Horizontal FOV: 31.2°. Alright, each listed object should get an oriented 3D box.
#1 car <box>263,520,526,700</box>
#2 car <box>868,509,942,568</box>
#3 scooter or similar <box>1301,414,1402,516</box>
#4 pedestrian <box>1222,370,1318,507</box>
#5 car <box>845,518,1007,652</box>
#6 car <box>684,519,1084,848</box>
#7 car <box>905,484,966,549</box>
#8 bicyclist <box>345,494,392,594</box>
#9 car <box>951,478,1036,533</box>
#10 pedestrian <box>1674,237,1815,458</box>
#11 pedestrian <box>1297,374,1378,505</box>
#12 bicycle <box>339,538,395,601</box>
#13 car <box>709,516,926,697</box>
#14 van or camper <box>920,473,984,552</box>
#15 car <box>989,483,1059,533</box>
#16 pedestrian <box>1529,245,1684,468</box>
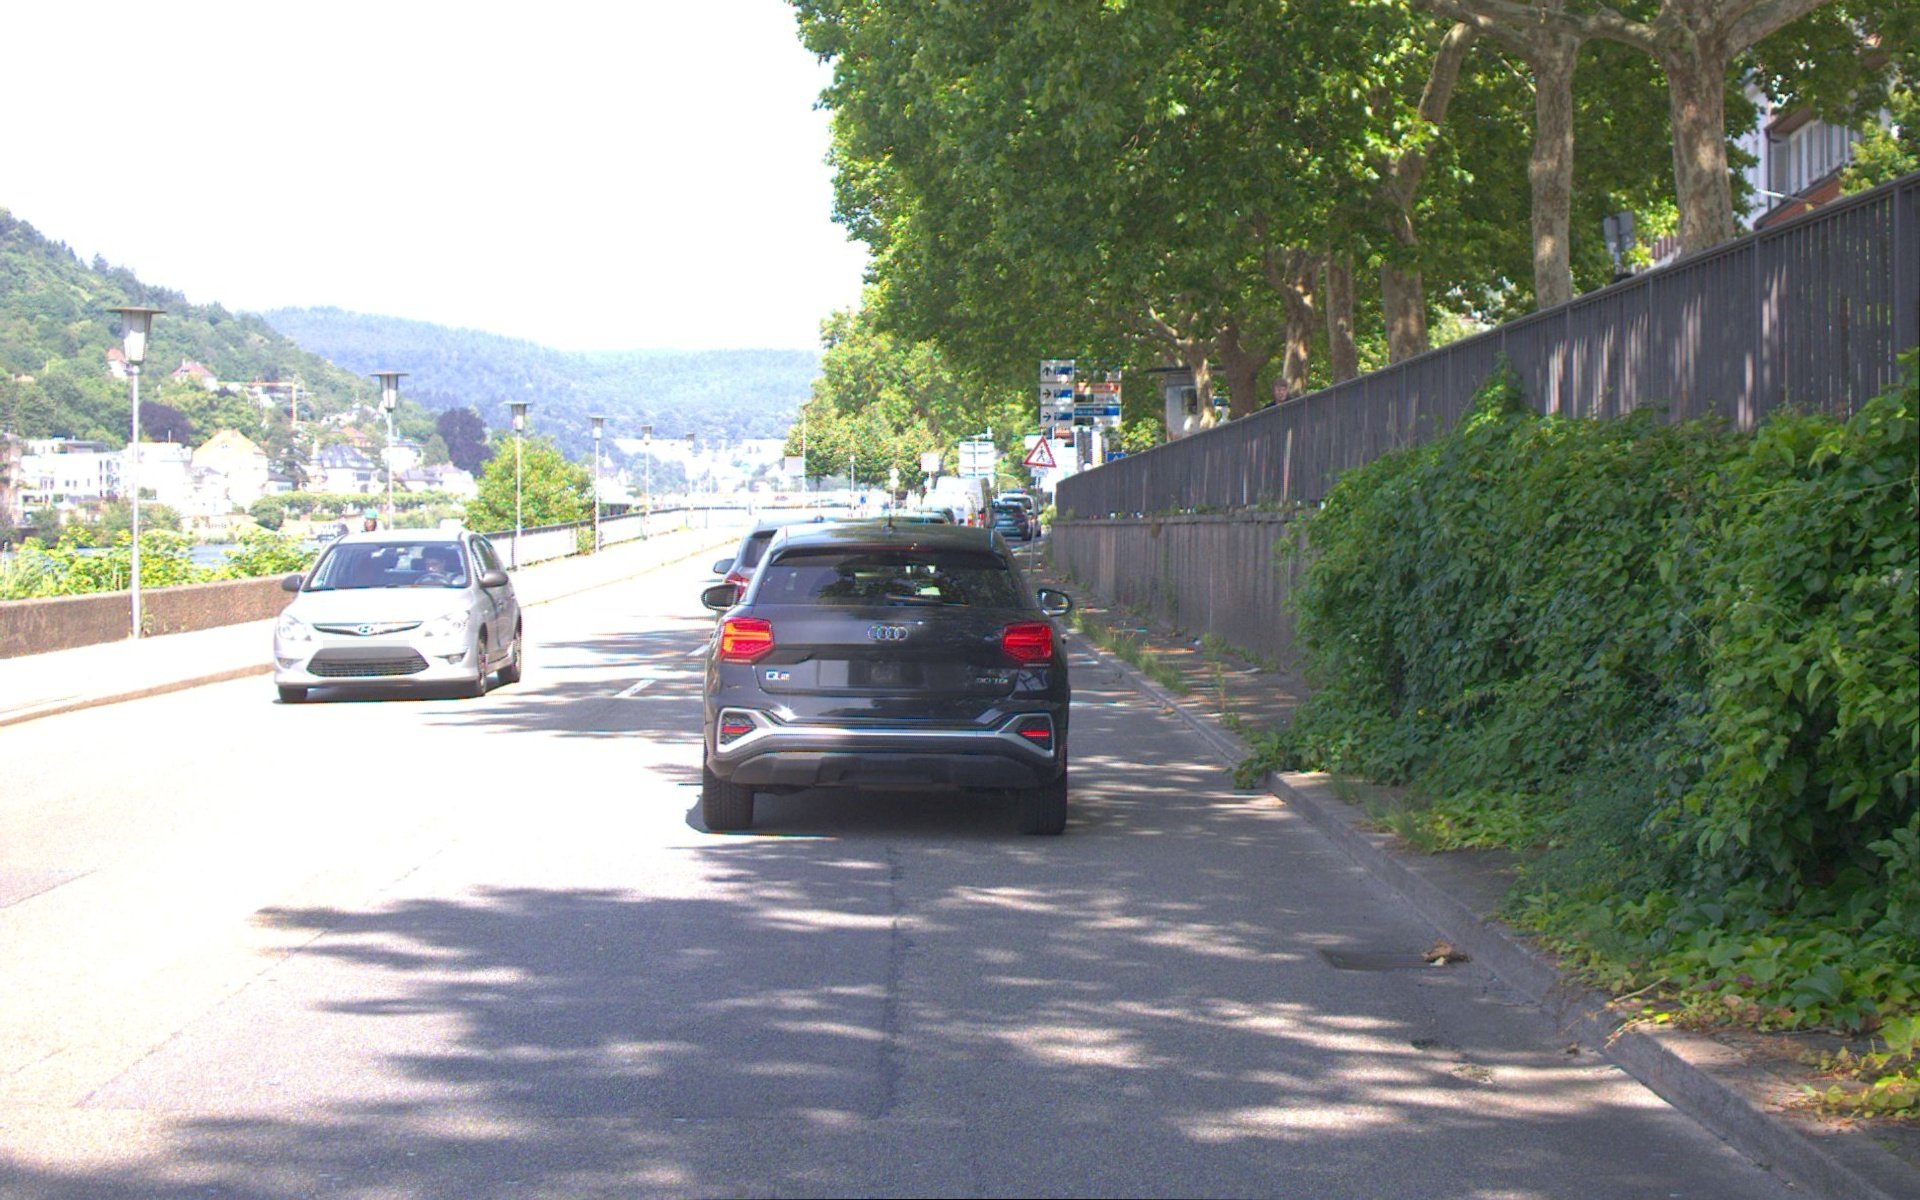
[{"bbox_3d":[-4.955,0.035,30.598,1.731,1.437,4.046,-2,1,-1],"label":"car"},{"bbox_3d":[-1.419,-1.585,87.742,1.828,1.439,4.001,1,2,-2],"label":"car"},{"bbox_3d":[4.124,-1.415,36.281,0.855,1.023,1.107,-3,1,-1],"label":"scooter or similar"},{"bbox_3d":[3.687,-1.915,40.971,0.936,1.574,1.028,-3,1,-3],"label":"pedestrian"},{"bbox_3d":[-0.440,-0.219,41.118,1.828,1.481,4.001,1,2,-2],"label":"car"},{"bbox_3d":[-0.405,0.340,17.868,1.828,1.481,4.001,1,2,-2],"label":"car"},{"bbox_3d":[-0.857,-2.846,116.805,1.993,2.162,4.001,0,2,-2],"label":"car"},{"bbox_3d":[-9.903,-0.940,57.578,0.637,1.668,0.871,0,1,-1],"label":"bicyclist"},{"bbox_3d":[1.290,-3.775,137.439,3.098,2.006,5.825,-3,2,-1],"label":"car"},{"bbox_3d":[5.075,-1.625,22.280,0.643,1.361,0.794,-3,1,-3],"label":"pedestrian"},{"bbox_3d":[4.087,-1.726,37.236,0.680,1.361,0.990,-3,1,-1],"label":"pedestrian"},{"bbox_3d":[-9.896,-0.520,57.435,0.632,1.008,1.986,0,1,-1],"label":"bicycle"},{"bbox_3d":[-1.263,0.008,31.206,1.828,1.506,4.001,1,2,-2],"label":"car"},{"bbox_3d":[-0.275,-3.196,125.842,2.310,2.837,4.246,0,1,1],"label":"van or camper"},{"bbox_3d":[2.746,-3.967,148.411,2.661,2.006,5.825,-3,2,-1],"label":"car"},{"bbox_3d":[4.156,-1.555,22.138,0.753,1.361,0.814,-3,1,-3],"label":"pedestrian"}]
